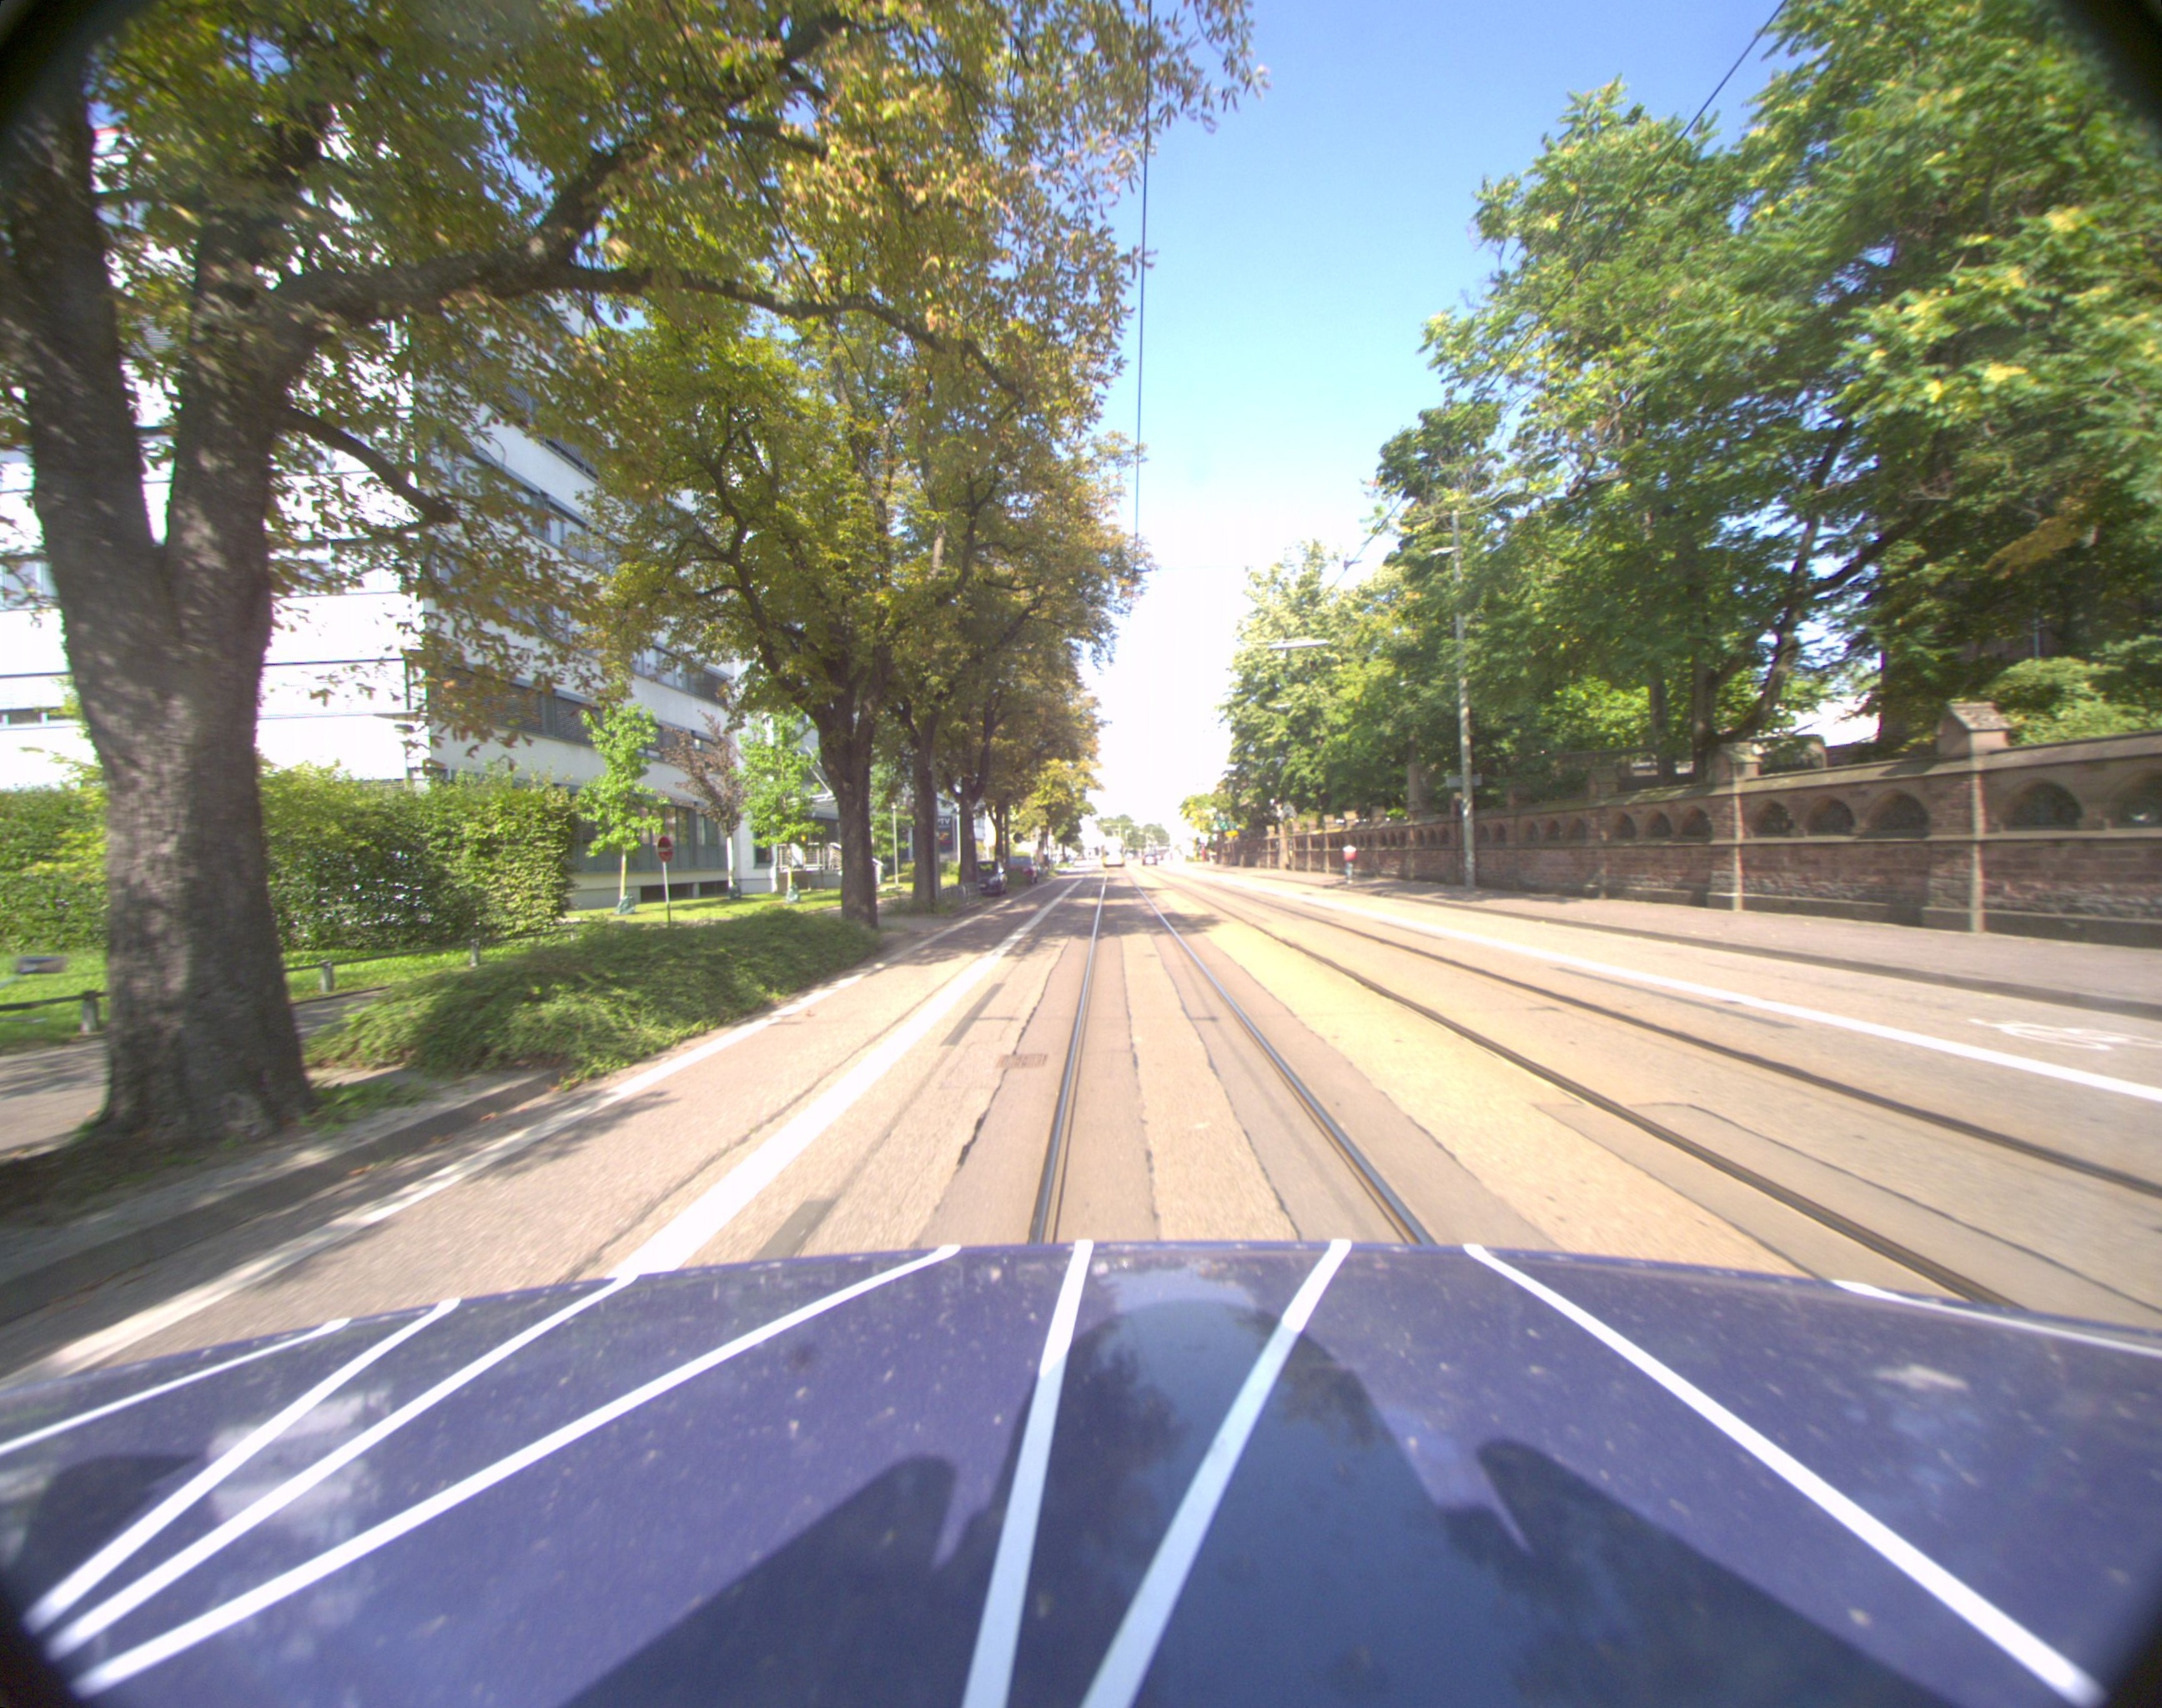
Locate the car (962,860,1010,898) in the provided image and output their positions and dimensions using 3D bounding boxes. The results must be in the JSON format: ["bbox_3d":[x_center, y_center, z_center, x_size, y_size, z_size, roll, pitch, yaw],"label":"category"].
[{"bbox_3d":[-3.943,0.999,31.969,1.566,1.433,3.563,1,1,0],"label":"car"}]

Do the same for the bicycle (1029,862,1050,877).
[{"bbox_3d":[-2.989,1.106,54.598,1.460,1.009,0.382,-2,1,-1],"label":"bicycle"}]

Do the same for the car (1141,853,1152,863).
[{"bbox_3d":[11.736,0.724,136.346,1.754,1.718,4.001,-2,1,6],"label":"car"}]

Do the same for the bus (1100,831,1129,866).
[{"bbox_3d":[4.031,-0.663,89.973,2.900,3.771,9.320,-2,1,5],"label":"bus"}]

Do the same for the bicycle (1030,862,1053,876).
[{"bbox_3d":[-2.829,1.095,55.069,1.621,1.009,0.382,-2,1,-1],"label":"bicycle"}]

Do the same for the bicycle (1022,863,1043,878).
[{"bbox_3d":[-3.375,1.135,52.864,1.460,1.009,0.382,-2,1,-1],"label":"bicycle"}]

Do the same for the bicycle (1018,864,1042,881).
[{"bbox_3d":[-3.214,1.162,47.741,1.460,1.009,0.382,-2,1,-1],"label":"bicycle"}]

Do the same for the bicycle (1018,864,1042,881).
[{"bbox_3d":[-3.228,1.165,48.167,1.460,1.009,0.382,-2,1,-1],"label":"bicycle"}]

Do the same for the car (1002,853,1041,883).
[{"bbox_3d":[-3.393,0.762,44.103,1.866,1.643,4.183,-1,1,1],"label":"car"}]

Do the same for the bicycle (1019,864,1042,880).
[{"bbox_3d":[-3.240,1.158,49.009,1.460,1.009,0.382,-2,1,-1],"label":"bicycle"}]

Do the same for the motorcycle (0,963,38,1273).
[{"bbox_3d":[-4.995,1.189,2.990,2.061,1.236,0.846,0,1,41],"label":"motorcycle"}]

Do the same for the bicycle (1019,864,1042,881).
[{"bbox_3d":[-3.233,1.162,48.582,1.460,1.009,0.382,-2,1,-1],"label":"bicycle"}]

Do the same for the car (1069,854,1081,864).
[{"bbox_3d":[-1.073,0.901,139.373,1.755,1.598,4.001,-2,1,5],"label":"car"}]

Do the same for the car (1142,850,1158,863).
[{"bbox_3d":[8.269,0.277,91.844,1.694,1.433,4.000,-1,0,2],"label":"car"}]
